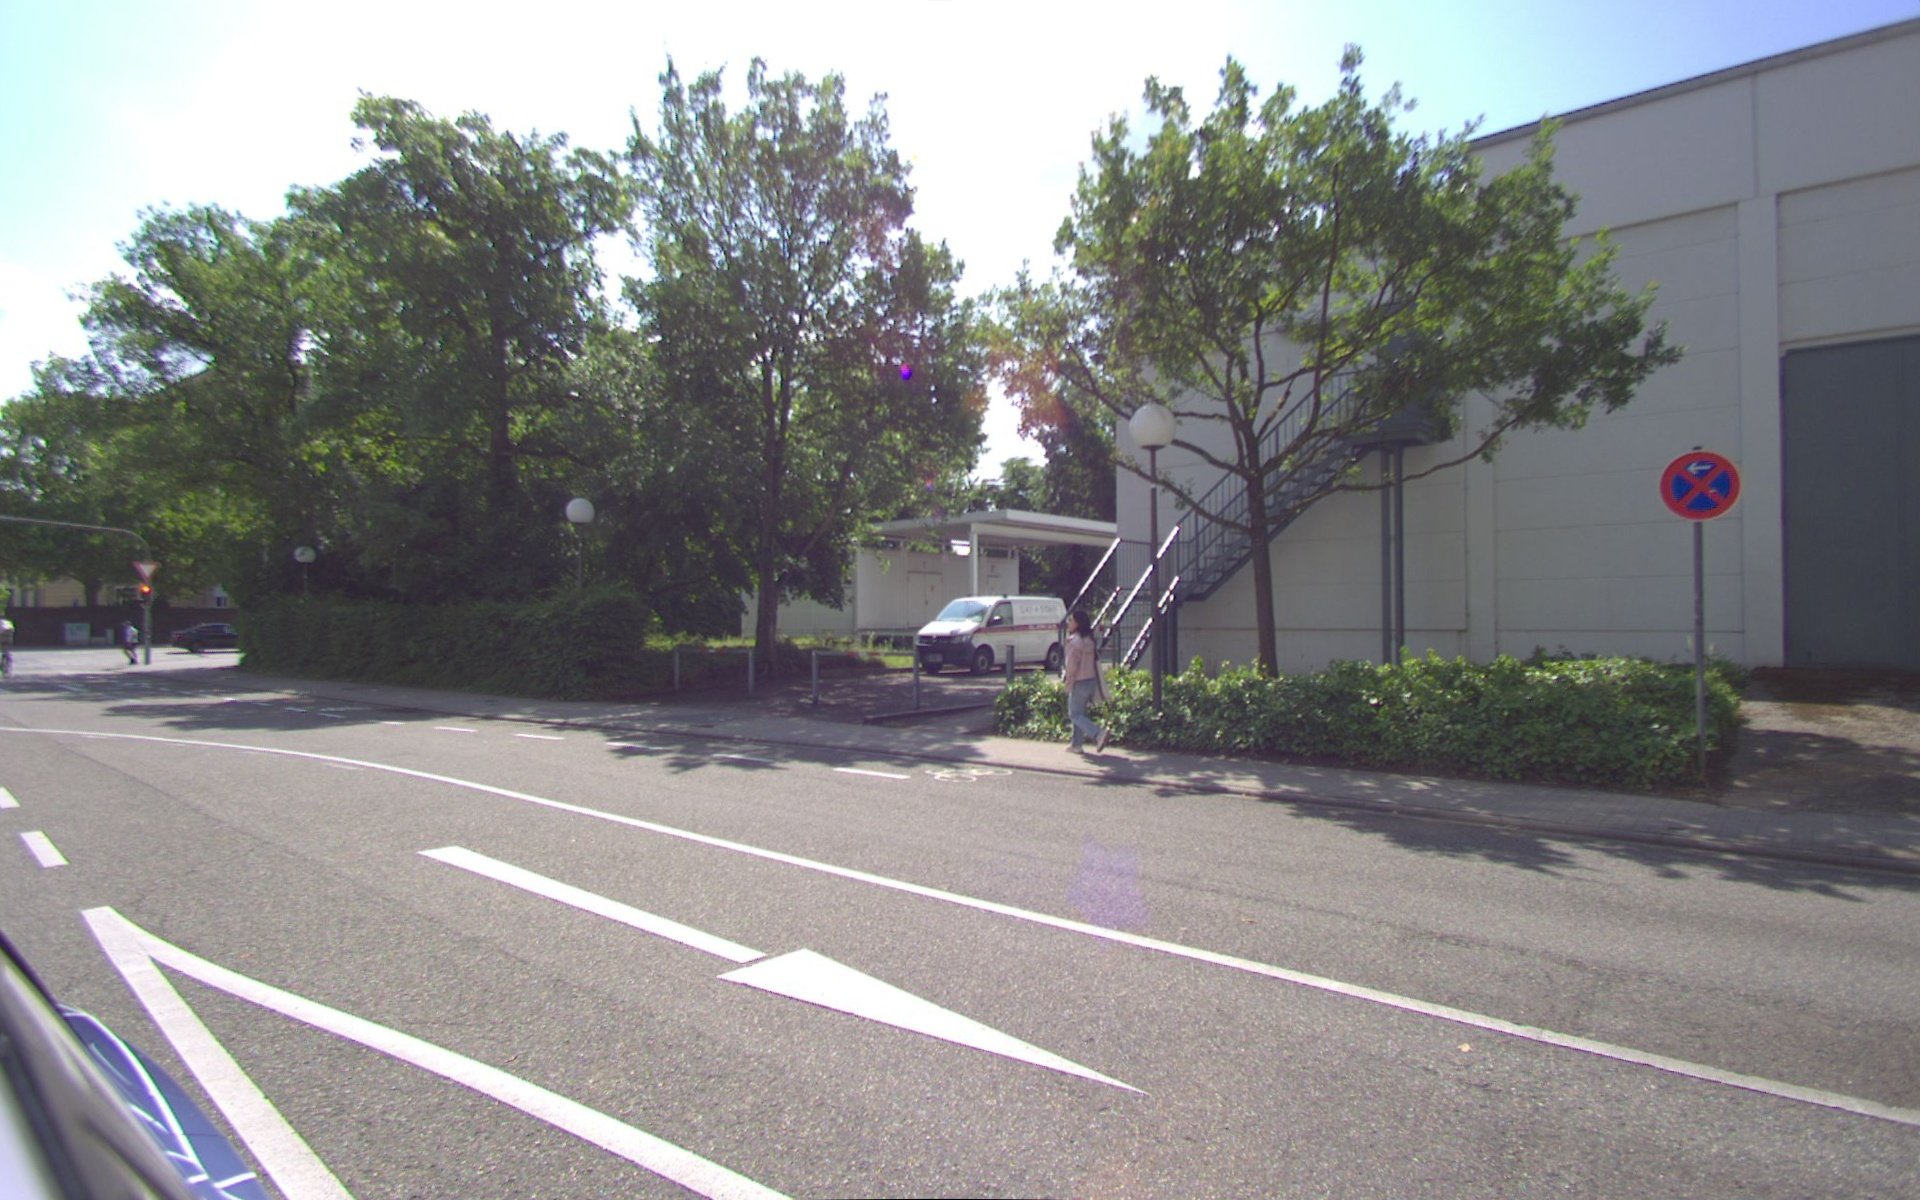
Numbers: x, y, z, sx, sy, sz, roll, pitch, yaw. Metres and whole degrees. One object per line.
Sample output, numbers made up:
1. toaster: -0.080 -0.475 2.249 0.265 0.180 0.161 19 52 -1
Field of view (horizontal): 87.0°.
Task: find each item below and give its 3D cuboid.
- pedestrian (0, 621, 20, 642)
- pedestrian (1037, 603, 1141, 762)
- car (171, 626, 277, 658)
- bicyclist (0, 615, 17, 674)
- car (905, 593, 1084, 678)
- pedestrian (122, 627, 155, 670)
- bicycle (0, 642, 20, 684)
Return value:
1. pedestrian: -76.388 2.534 81.190 1.278 1.663 1.329 1 -1 -36
2. pedestrian: 1.409 0.865 11.035 0.883 1.639 0.706 -1 -2 39
3. car: -37.045 2.083 50.993 4.127 1.426 1.833 0 0 -42
4. bicyclist: -28.842 1.319 30.340 0.918 1.750 0.685 -1 -2 40
5. car: 0.998 0.872 26.345 2.000 2.001 4.867 0 -1 42
6. pedestrian: -33.256 1.942 40.962 0.854 1.714 0.918 -3 -3 44
7. bicycle: -28.818 1.880 30.320 2.208 1.180 0.685 -1 -2 40
